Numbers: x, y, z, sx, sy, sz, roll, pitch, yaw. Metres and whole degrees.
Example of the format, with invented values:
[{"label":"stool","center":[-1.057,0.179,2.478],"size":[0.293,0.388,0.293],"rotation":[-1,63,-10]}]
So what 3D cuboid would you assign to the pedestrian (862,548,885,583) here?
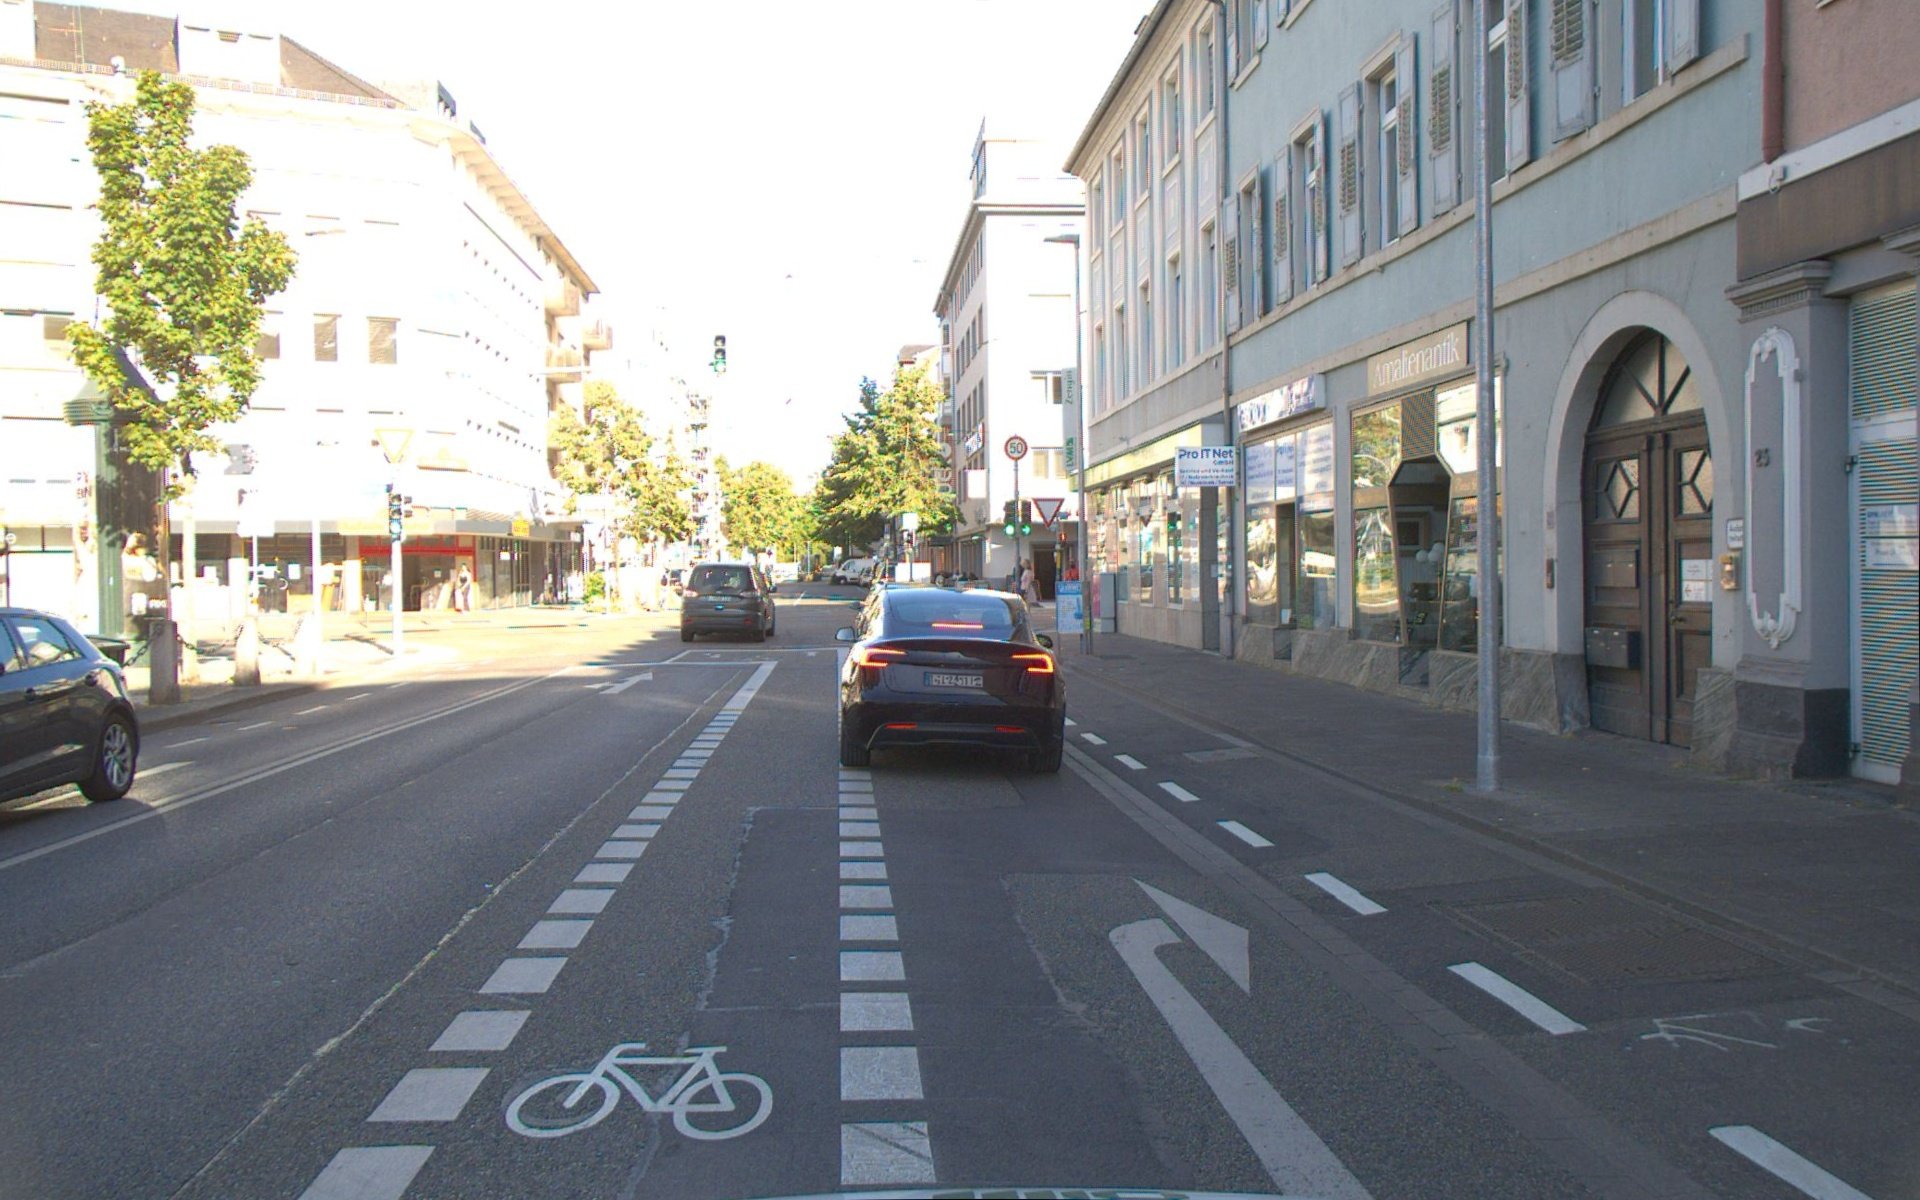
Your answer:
[{"label":"pedestrian","center":[-4.877,-1.943,93.299],"size":[0.937,1.948,1.106],"rotation":[-2,1,12]}]

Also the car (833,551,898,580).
[{"label":"car","center":[-7.925,-2.883,138.418],"size":[5.287,2.183,1.998],"rotation":[-2,1,-6]}]

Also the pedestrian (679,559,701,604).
[{"label":"pedestrian","center":[-10.833,-0.747,66.395],"size":[0.766,1.758,0.556],"rotation":[-1,1,-19]}]

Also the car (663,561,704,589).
[{"label":"car","center":[-16.561,-1.533,99.075],"size":[1.954,1.626,3.998],"rotation":[-1,2,-3]}]

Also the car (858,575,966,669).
[{"label":"car","center":[-0.867,0.326,28.774],"size":[1.726,1.443,4.353],"rotation":[-1,1,-3]}]

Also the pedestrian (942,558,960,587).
[{"label":"pedestrian","center":[-0.456,-1.349,80.991],"size":[0.717,1.370,1.058],"rotation":[-2,1,-7]}]

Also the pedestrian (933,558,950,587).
[{"label":"pedestrian","center":[-0.932,-1.369,82.064],"size":[0.696,1.370,1.058],"rotation":[-2,1,-8]}]

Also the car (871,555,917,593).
[{"label":"car","center":[-3.102,-1.250,76.946],"size":[1.961,1.664,4.285],"rotation":[-1,2,-4]}]

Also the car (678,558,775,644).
[{"label":"car","center":[-5.207,-0.031,37.348],"size":[1.866,1.763,4.285],"rotation":[-1,2,-4]}]

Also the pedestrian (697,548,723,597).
[{"label":"pedestrian","center":[-10.033,-1.112,66.426],"size":[0.766,1.898,0.996],"rotation":[-4,3,-19]}]

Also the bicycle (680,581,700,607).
[{"label":"bicycle","center":[-10.827,-0.251,66.273],"size":[0.543,0.985,1.787],"rotation":[-2,1,-16]}]

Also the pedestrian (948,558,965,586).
[{"label":"pedestrian","center":[-0.180,-1.401,82.286],"size":[0.716,1.384,0.958],"rotation":[-2,1,-5]}]

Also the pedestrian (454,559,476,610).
[{"label":"pedestrian","center":[-17.018,-0.537,56.892],"size":[0.548,1.739,0.711],"rotation":[-2,1,-7]}]

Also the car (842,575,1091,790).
[{"label":"car","center":[-0.077,0.580,14.564],"size":[1.833,1.452,4.362],"rotation":[-2,2,-4]}]

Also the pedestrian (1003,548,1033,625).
[{"label":"pedestrian","center":[1.422,-0.344,40.813],"size":[0.627,1.874,0.681],"rotation":[-2,1,-5]}]

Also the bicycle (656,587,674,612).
[{"label":"bicycle","center":[-11.667,-0.026,65.375],"size":[0.473,0.972,1.448],"rotation":[-2,1,-18]}]

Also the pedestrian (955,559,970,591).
[{"label":"pedestrian","center":[0.105,-1.080,71.519],"size":[0.575,1.335,0.560],"rotation":[-2,1,-4]}]

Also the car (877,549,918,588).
[{"label":"car","center":[-3.191,-1.597,83.377],"size":[1.866,1.884,4.285],"rotation":[-1,2,-4]}]

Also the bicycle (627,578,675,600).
[{"label":"bicycle","center":[-14.847,-0.538,79.392],"size":[2.184,0.975,0.653],"rotation":[-2,1,-17]}]

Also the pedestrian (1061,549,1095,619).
[{"label":"pedestrian","center":[3.002,-0.414,42.172],"size":[0.676,1.732,0.912],"rotation":[-2,2,-3]}]

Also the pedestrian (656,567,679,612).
[{"label":"pedestrian","center":[-11.497,-0.429,65.087],"size":[0.778,1.742,0.651],"rotation":[-1,1,-19]}]

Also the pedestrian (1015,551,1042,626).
[{"label":"pedestrian","center":[1.661,-0.283,40.267],"size":[0.561,1.789,0.649],"rotation":[-1,1,-5]}]

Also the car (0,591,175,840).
[{"label":"car","center":[-6.565,0.752,10.264],"size":[1.618,1.421,4.040],"rotation":[-4,2,-4]}]

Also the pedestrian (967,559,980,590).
[{"label":"pedestrian","center":[0.586,-1.117,72.340],"size":[0.477,1.345,0.654],"rotation":[-2,1,3]}]
